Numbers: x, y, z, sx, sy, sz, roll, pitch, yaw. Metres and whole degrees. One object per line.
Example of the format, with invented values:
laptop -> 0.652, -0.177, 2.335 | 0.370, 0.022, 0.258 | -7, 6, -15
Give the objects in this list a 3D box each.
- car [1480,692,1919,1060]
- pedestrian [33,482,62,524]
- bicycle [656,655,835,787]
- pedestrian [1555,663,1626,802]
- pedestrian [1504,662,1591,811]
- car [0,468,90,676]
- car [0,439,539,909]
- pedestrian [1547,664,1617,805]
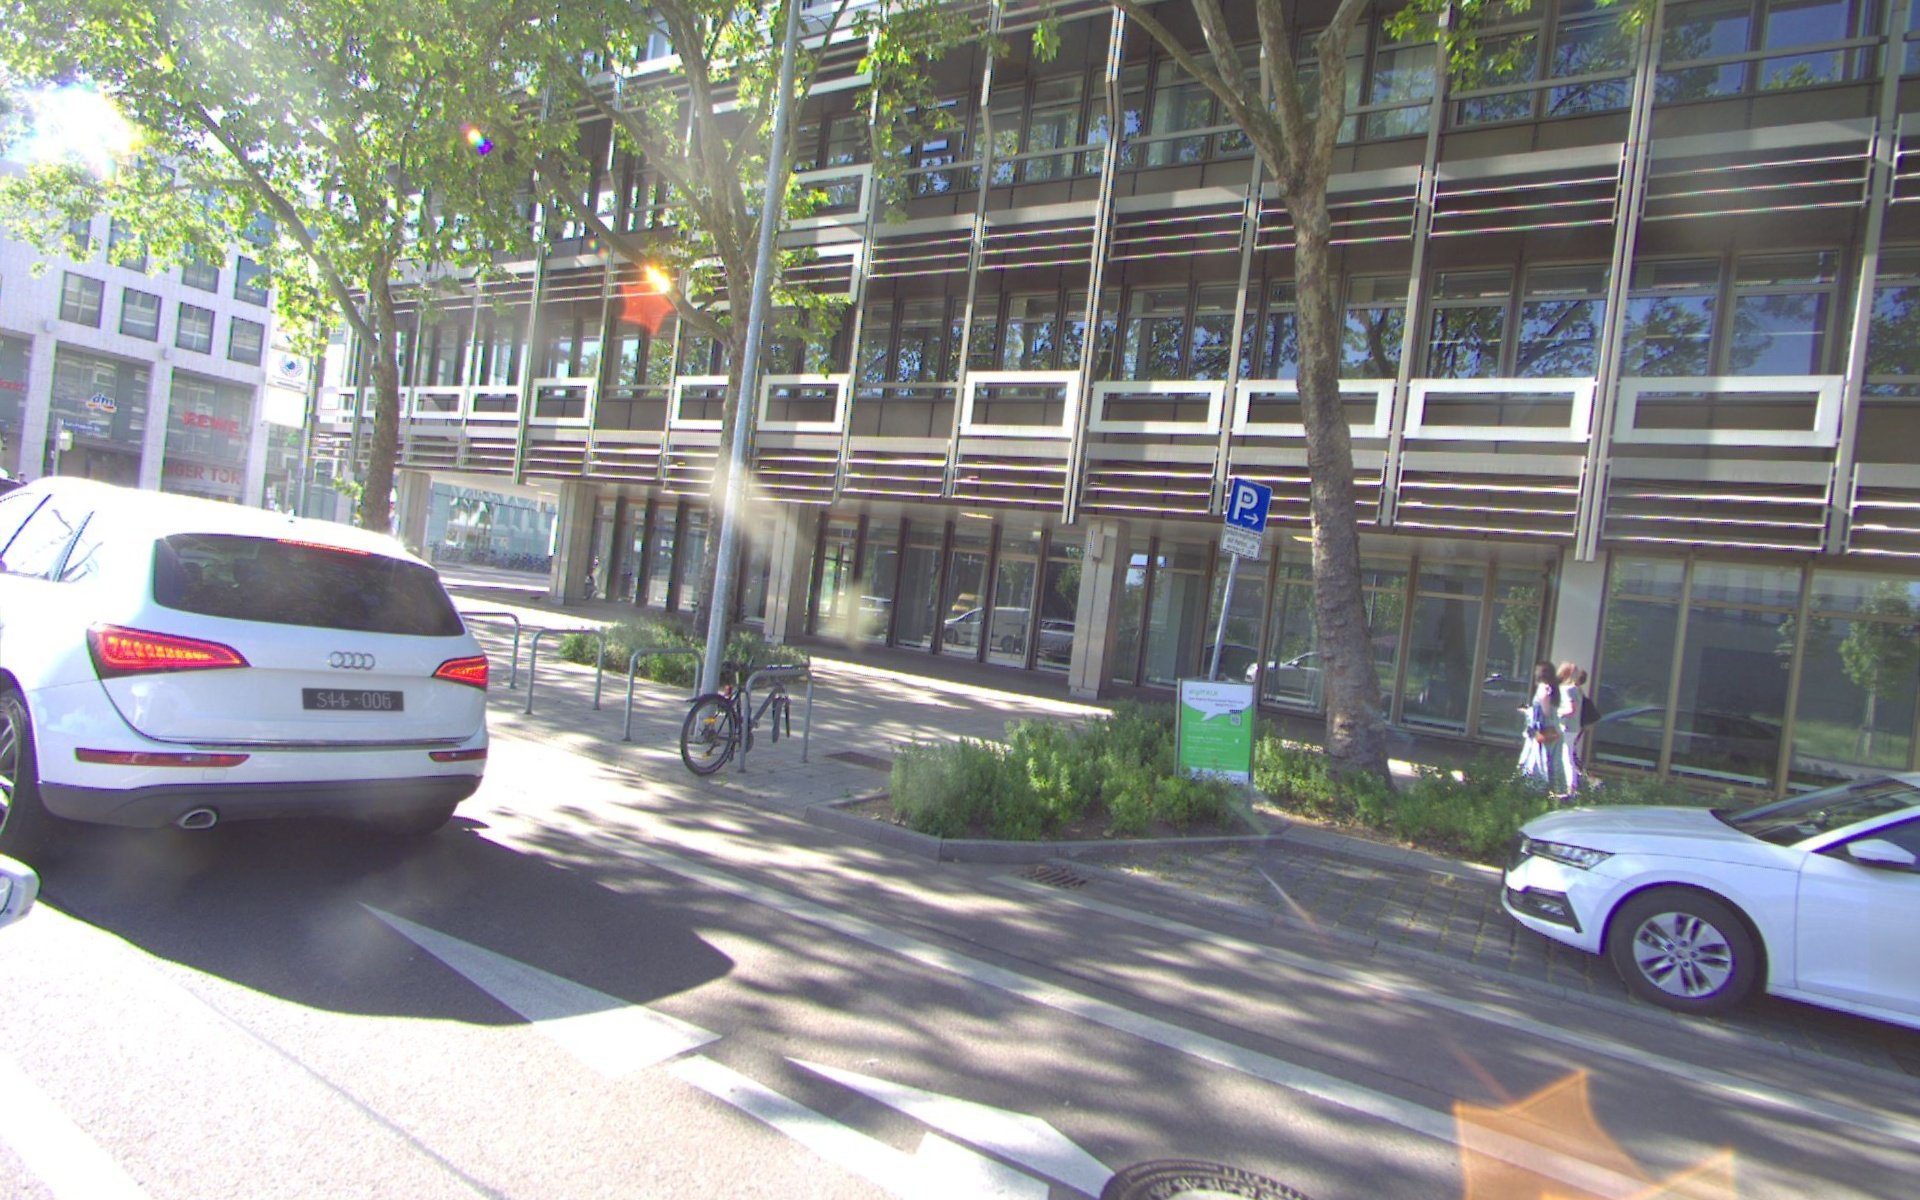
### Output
car -> 5.511, 1.607, 5.479 | 4.524, 1.511, 1.706 | 7, 0, 32
pedestrian -> -34.128, -3.623, 37.637 | 0.622, 1.457, 0.562 | 6, -2, 38
bicycle -> -1.808, 0.992, 8.734 | 0.470, 0.970, 1.696 | 8, 1, 27
pedestrian -> 7.865, 1.640, 12.574 | 0.563, 1.622, 0.554 | 8, 1, 31
pedestrian -> 6.819, 1.569, 11.707 | 0.623, 1.604, 0.507 | 8, 1, 23
car -> -9.709, -0.475, 8.923 | 4.116, 1.673, 1.724 | 7, 0, 31
car -> -4.345, 0.124, 5.371 | 4.118, 1.637, 1.723 | 7, 0, 33
pedestrian -> 7.502, 1.609, 12.147 | 0.492, 1.604, 0.316 | 8, 1, 23
